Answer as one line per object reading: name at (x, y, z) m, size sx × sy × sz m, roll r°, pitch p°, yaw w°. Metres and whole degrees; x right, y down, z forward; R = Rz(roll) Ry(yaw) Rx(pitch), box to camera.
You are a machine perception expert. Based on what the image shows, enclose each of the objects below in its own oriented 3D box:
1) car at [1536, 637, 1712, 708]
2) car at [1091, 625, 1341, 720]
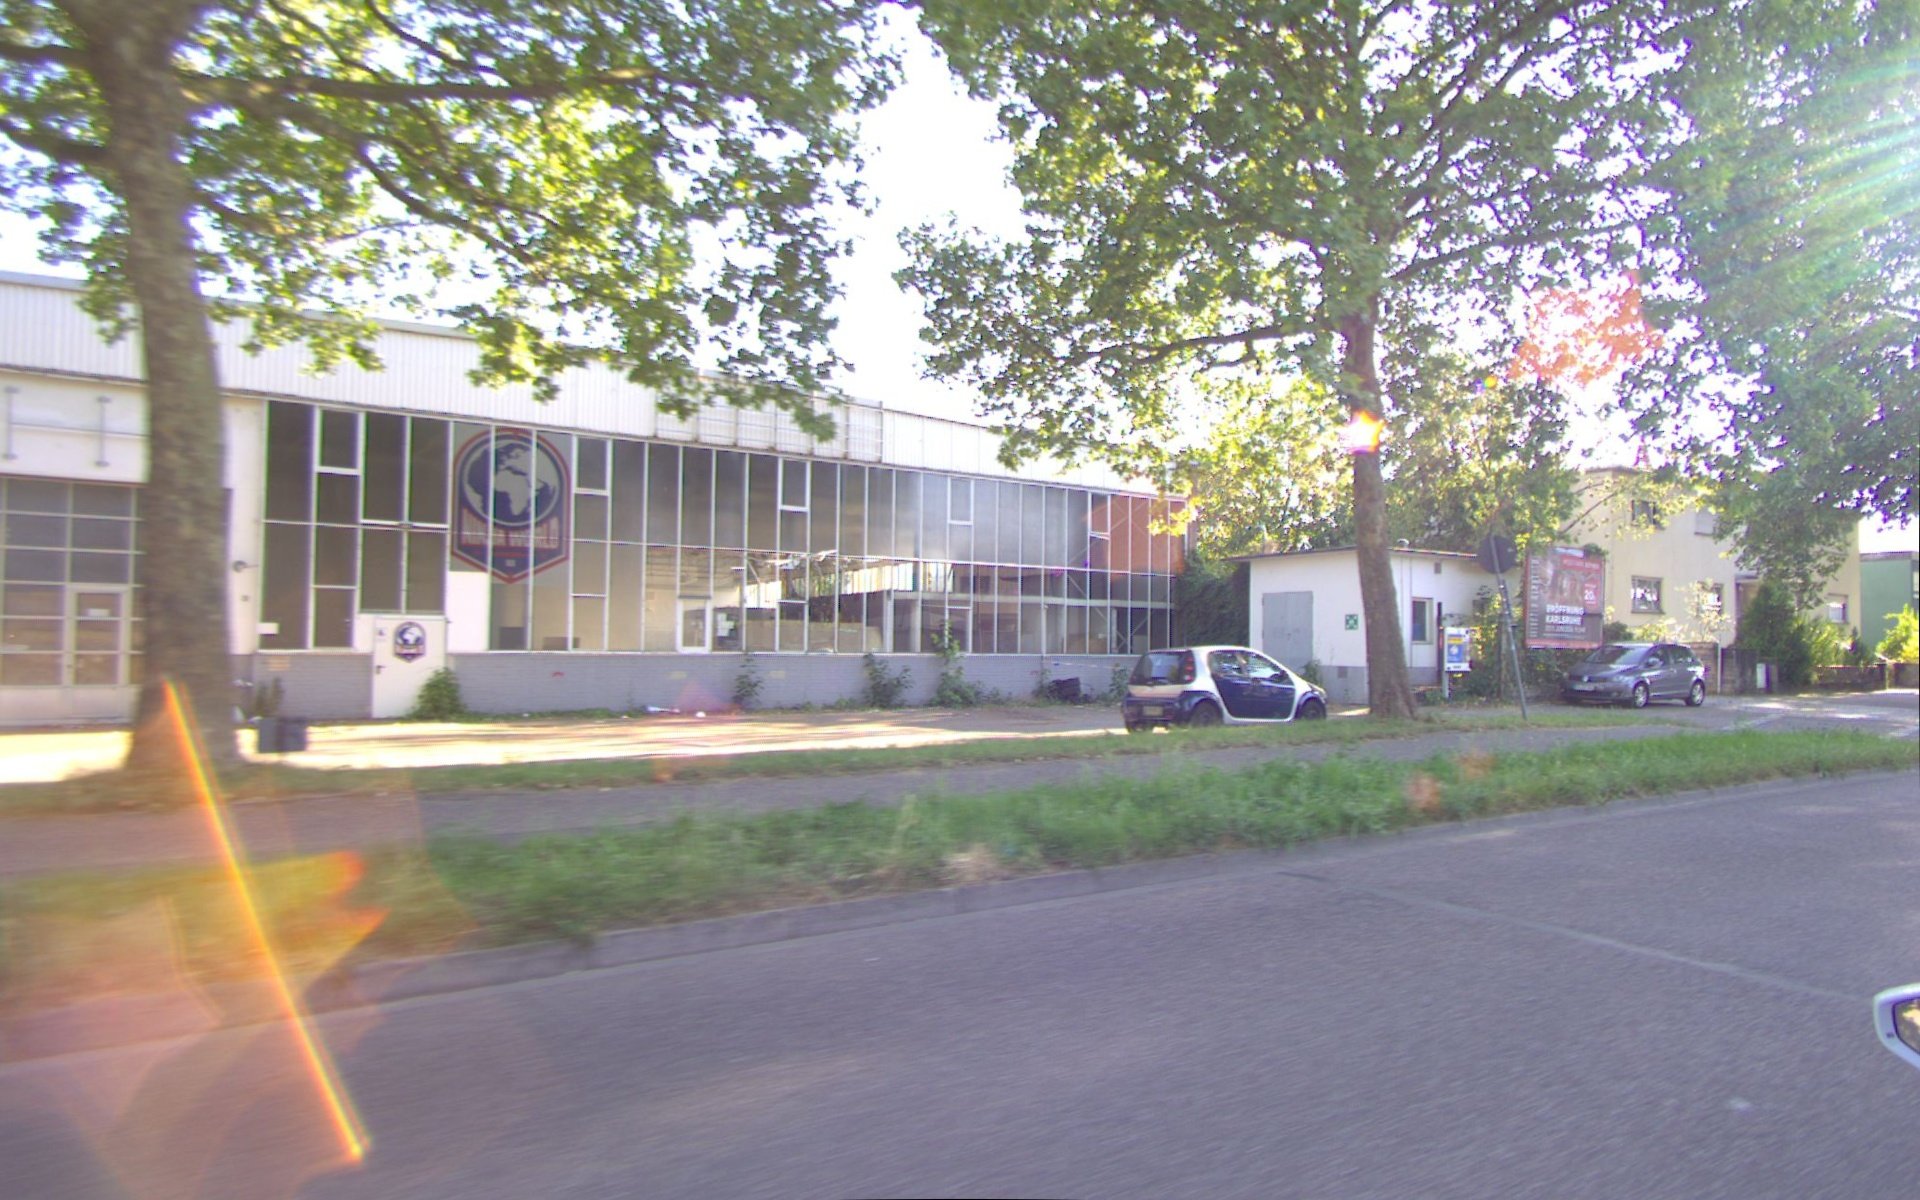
car at (16.839, 1.845, 25.456) m, size 4.222 × 1.596 × 1.985 m, roll 4°, pitch -1°, yaw -29°
car at (4.293, 1.264, 16.746) m, size 3.882 × 1.387 × 1.982 m, roll 4°, pitch -7°, yaw -35°
